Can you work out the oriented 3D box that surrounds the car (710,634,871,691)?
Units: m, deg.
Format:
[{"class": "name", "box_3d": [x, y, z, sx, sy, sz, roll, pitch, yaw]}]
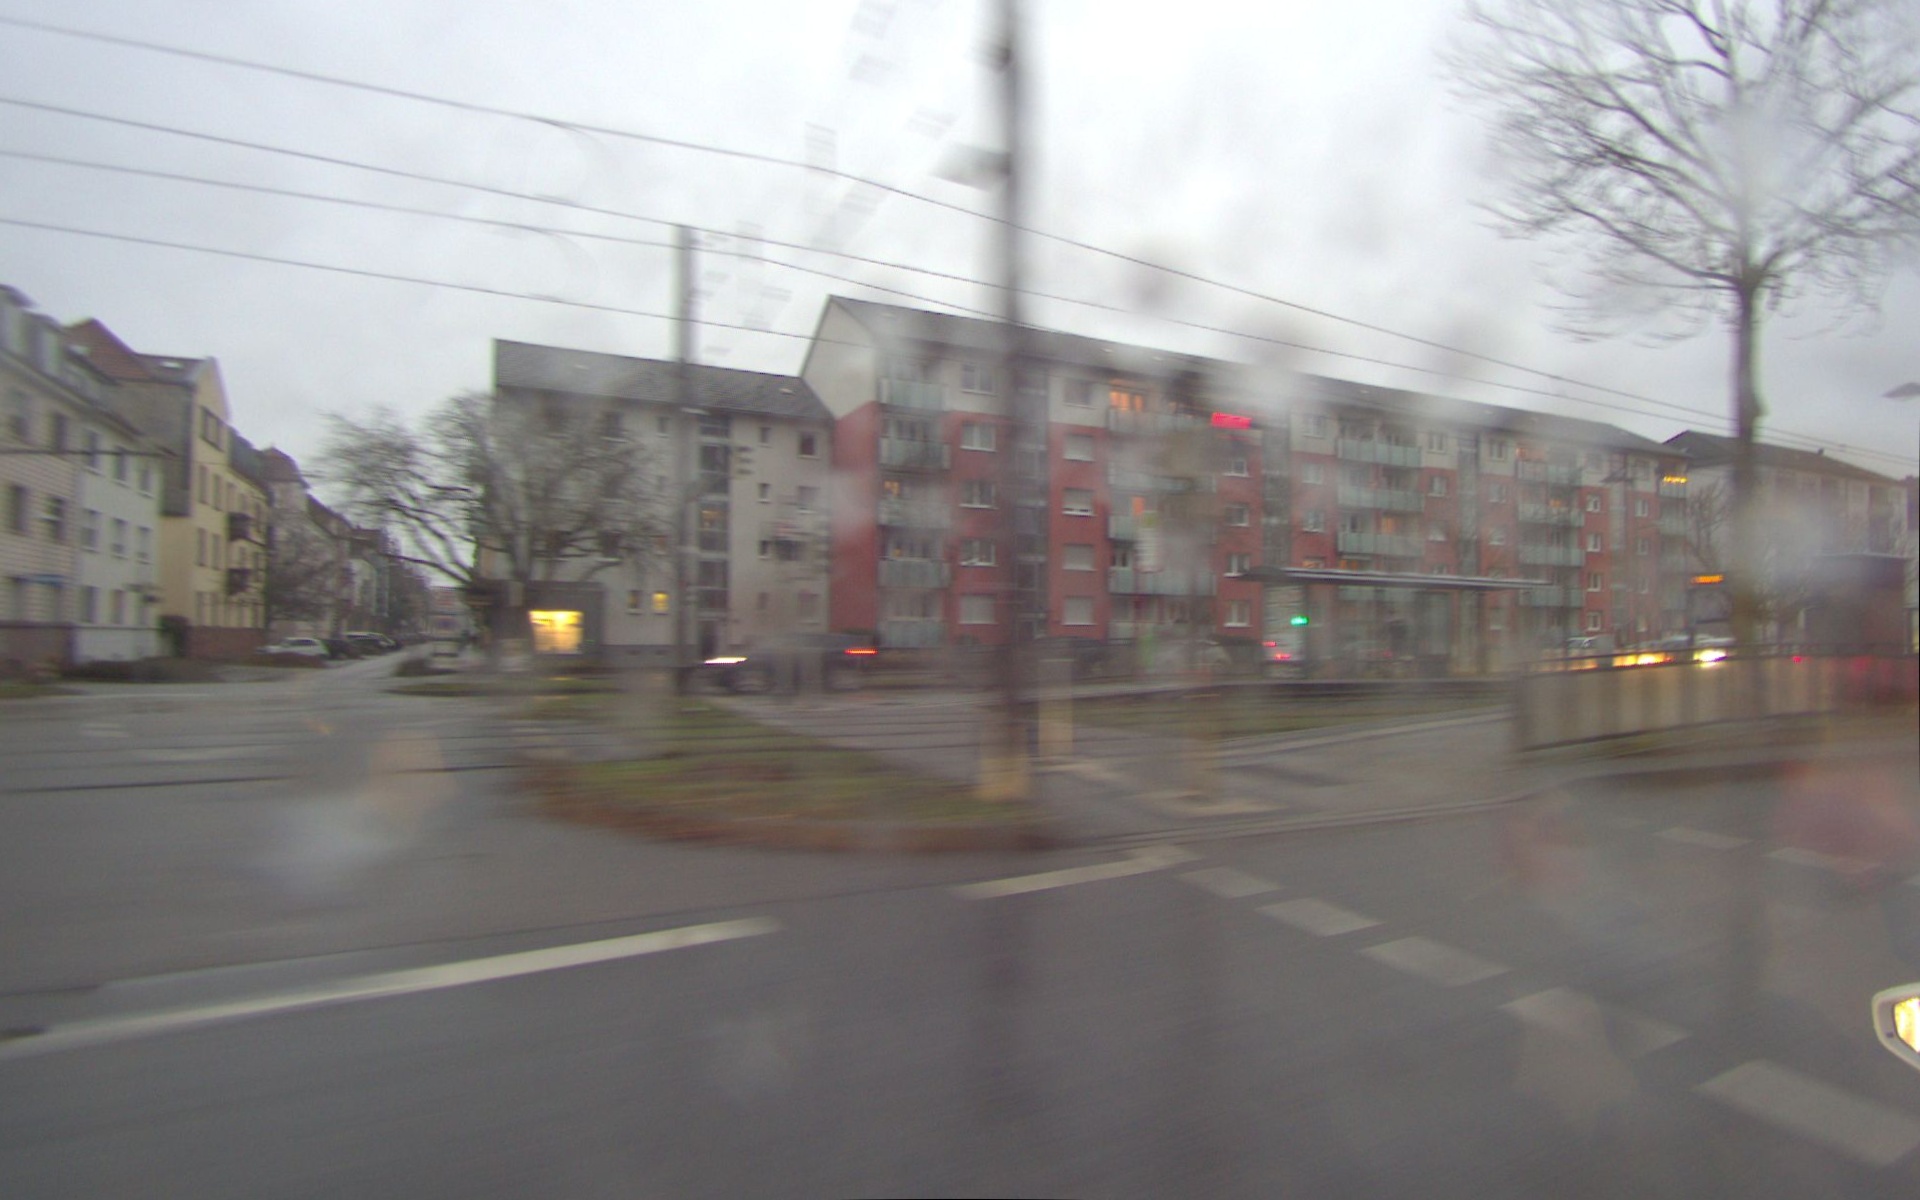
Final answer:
[{"class": "car", "box_3d": [-4.503, 1.660, 26.791, 3.950, 1.386, 1.510, 2, -1, -28]}]

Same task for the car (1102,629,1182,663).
[{"class": "car", "box_3d": [8.847, 2.226, 48.750, 3.454, 1.516, 1.706, 2, -1, -25]}]

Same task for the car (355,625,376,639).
[{"class": "car", "box_3d": [-82.423, 4.407, 139.267, 1.973, 1.806, 3.976, 2, -1, -24]}]

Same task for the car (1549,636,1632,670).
[{"class": "car", "box_3d": [31.683, 2.682, 50.450, 4.098, 1.564, 1.718, 2, -1, -28]}]

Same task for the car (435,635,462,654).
[{"class": "car", "box_3d": [-38.427, 3.321, 75.478, 1.540, 1.304, 3.252, 2, -1, -23]}]

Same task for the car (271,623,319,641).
[{"class": "car", "box_3d": [-57.972, 2.761, 87.649, 3.377, 1.456, 1.417, 2, -1, -32]}]

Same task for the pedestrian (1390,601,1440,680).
[{"class": "pedestrian", "box_3d": [12.291, 1.080, 27.156, 1.118, 2.040, 0.962, 1, -1, 21]}]

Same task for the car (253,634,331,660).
[{"class": "car", "box_3d": [-40.000, 2.827, 60.186, 1.532, 1.456, 3.538, 1, -1, 35]}]

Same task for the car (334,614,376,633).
[{"class": "car", "box_3d": [-67.883, 2.614, 112.789, 3.952, 2.040, 1.984, 2, -1, -30]}]

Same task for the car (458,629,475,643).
[{"class": "car", "box_3d": [-71.321, 5.206, 145.115, 1.973, 1.806, 3.976, 2, -1, -24]}]
